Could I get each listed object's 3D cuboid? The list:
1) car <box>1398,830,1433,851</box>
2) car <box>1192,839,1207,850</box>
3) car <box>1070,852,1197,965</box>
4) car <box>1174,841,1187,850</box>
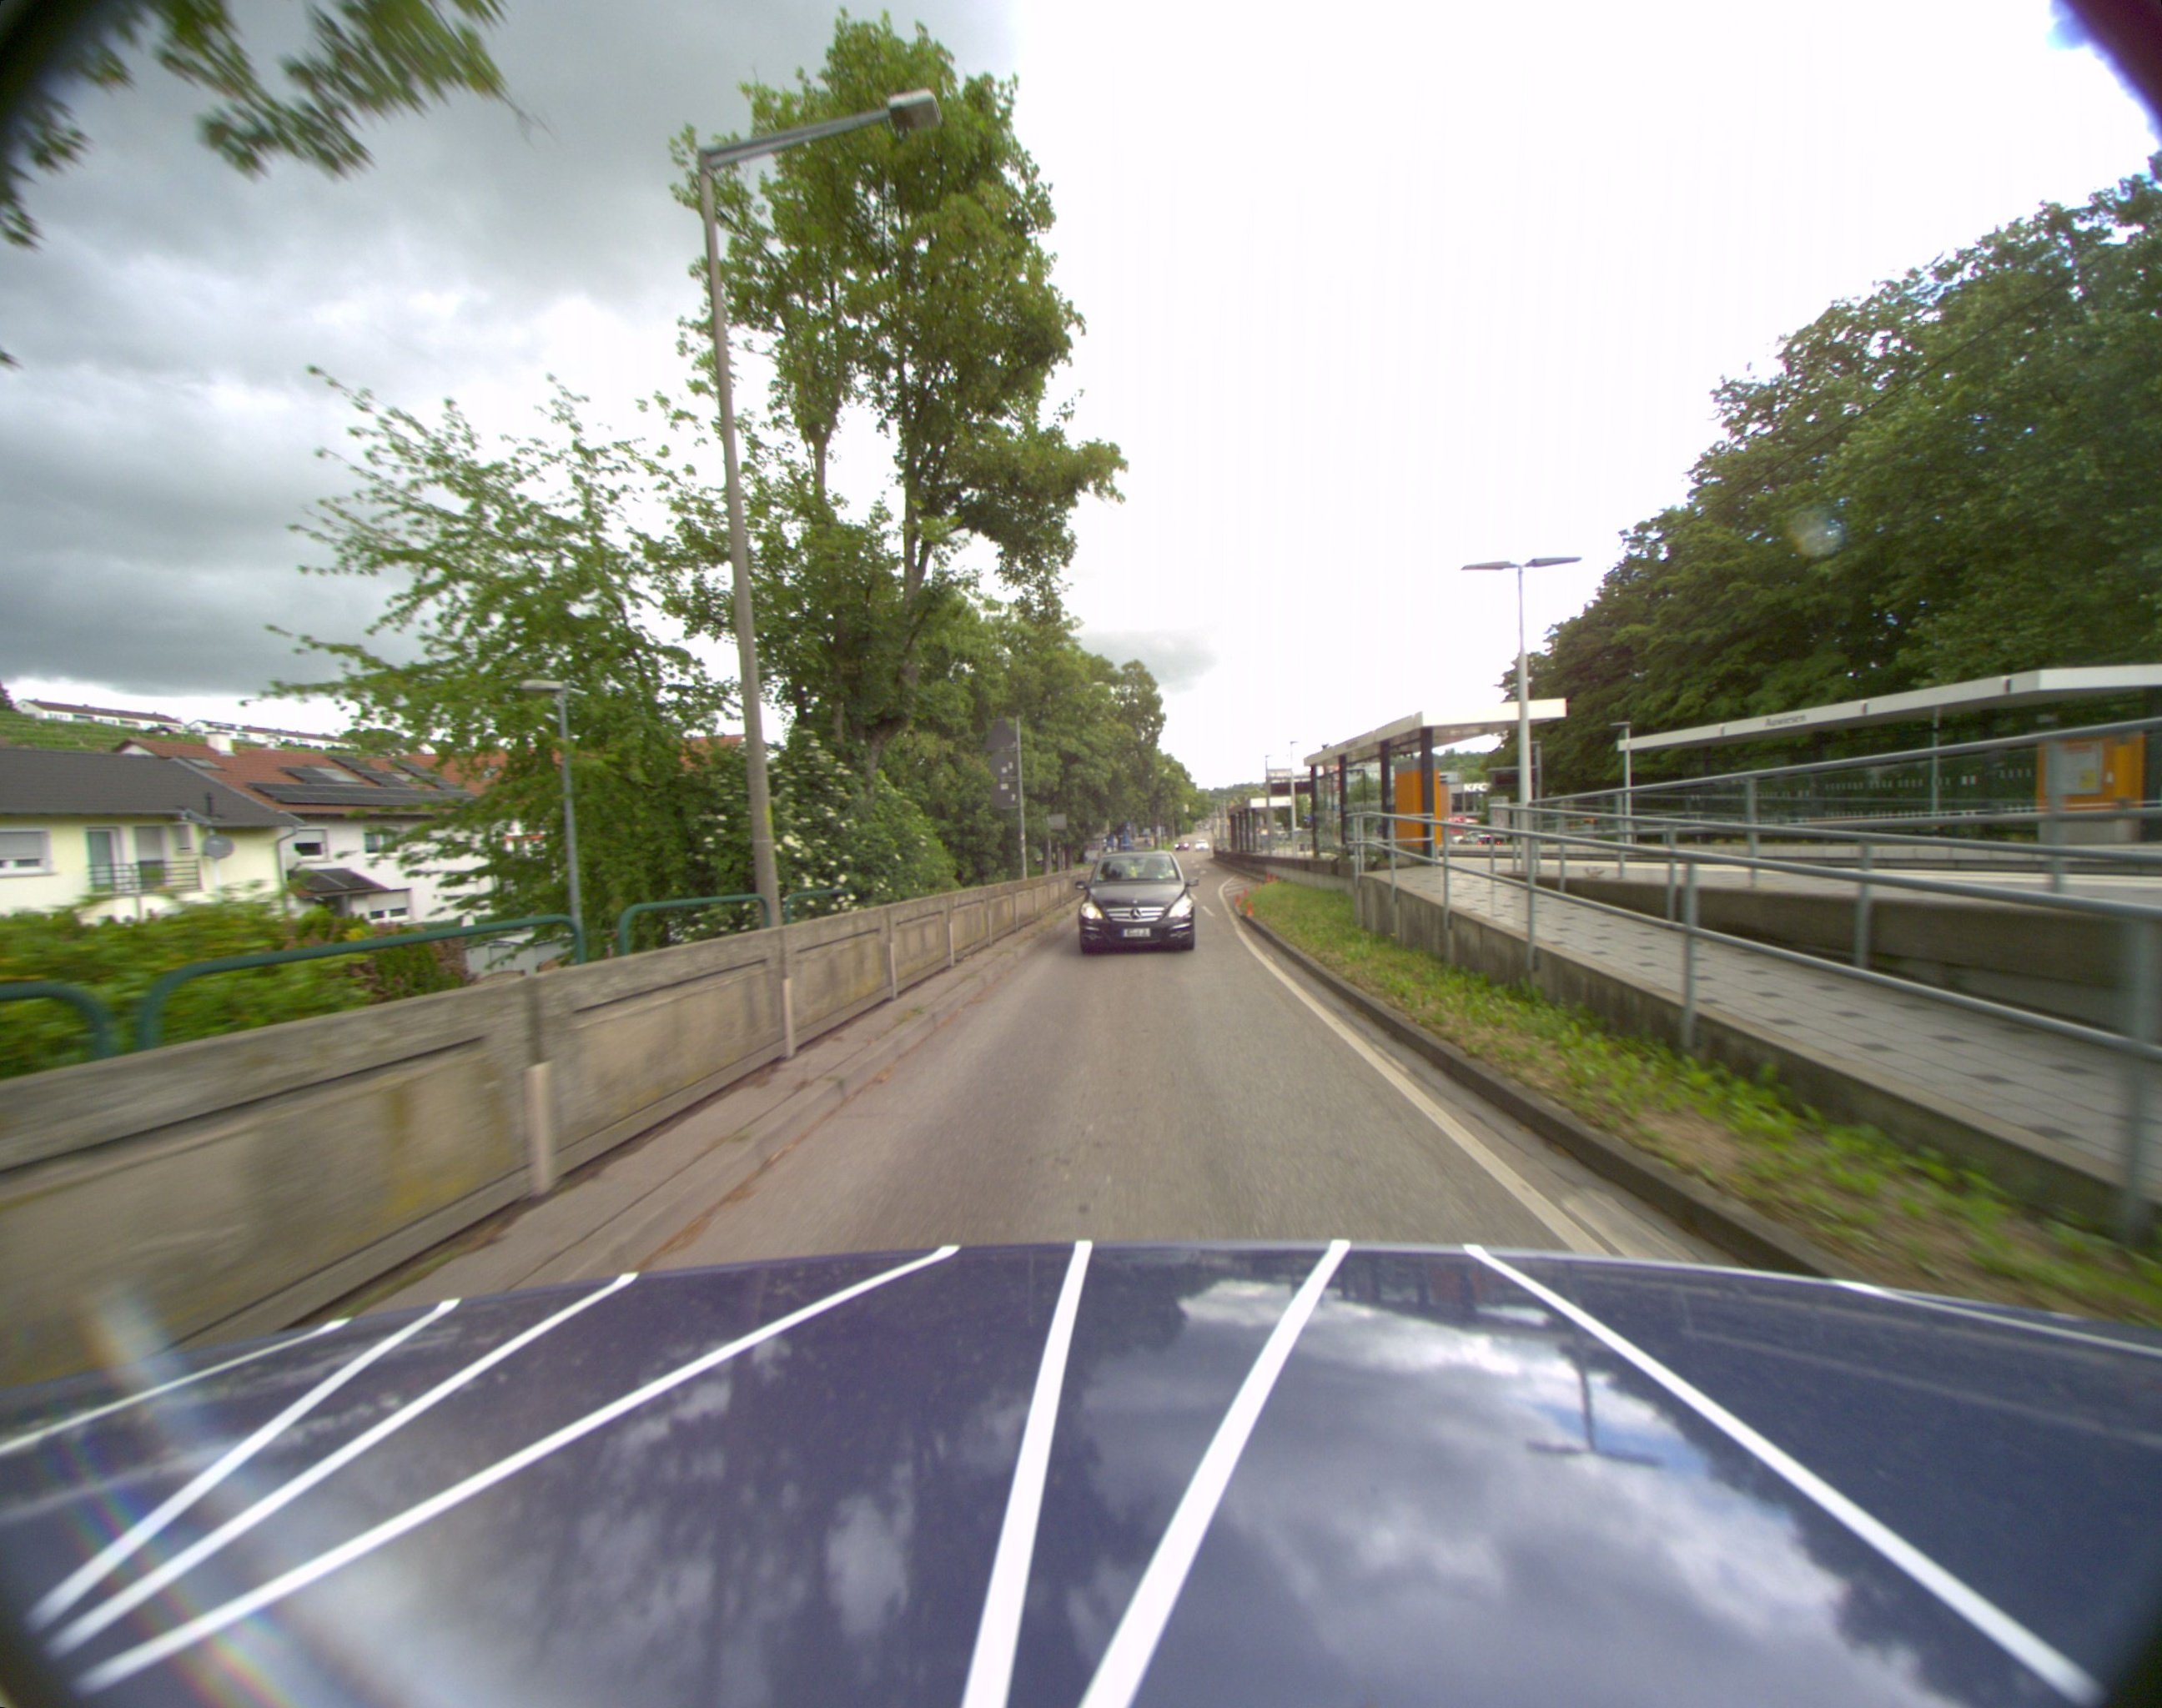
[{"bbox_3d":[29.111,-1.184,66.249,1.769,1.689,3.795,-2,1,7],"label":"car"},{"bbox_3d":[16.247,-1.284,104.340,1.702,1.470,3.708,-2,1,4],"label":"car"},{"bbox_3d":[1.068,0.783,13.051,1.710,1.573,4.445,-2,0,9],"label":"car"},{"bbox_3d":[15.147,-1.332,115.309,1.715,1.277,3.574,-2,1,4],"label":"car"}]
